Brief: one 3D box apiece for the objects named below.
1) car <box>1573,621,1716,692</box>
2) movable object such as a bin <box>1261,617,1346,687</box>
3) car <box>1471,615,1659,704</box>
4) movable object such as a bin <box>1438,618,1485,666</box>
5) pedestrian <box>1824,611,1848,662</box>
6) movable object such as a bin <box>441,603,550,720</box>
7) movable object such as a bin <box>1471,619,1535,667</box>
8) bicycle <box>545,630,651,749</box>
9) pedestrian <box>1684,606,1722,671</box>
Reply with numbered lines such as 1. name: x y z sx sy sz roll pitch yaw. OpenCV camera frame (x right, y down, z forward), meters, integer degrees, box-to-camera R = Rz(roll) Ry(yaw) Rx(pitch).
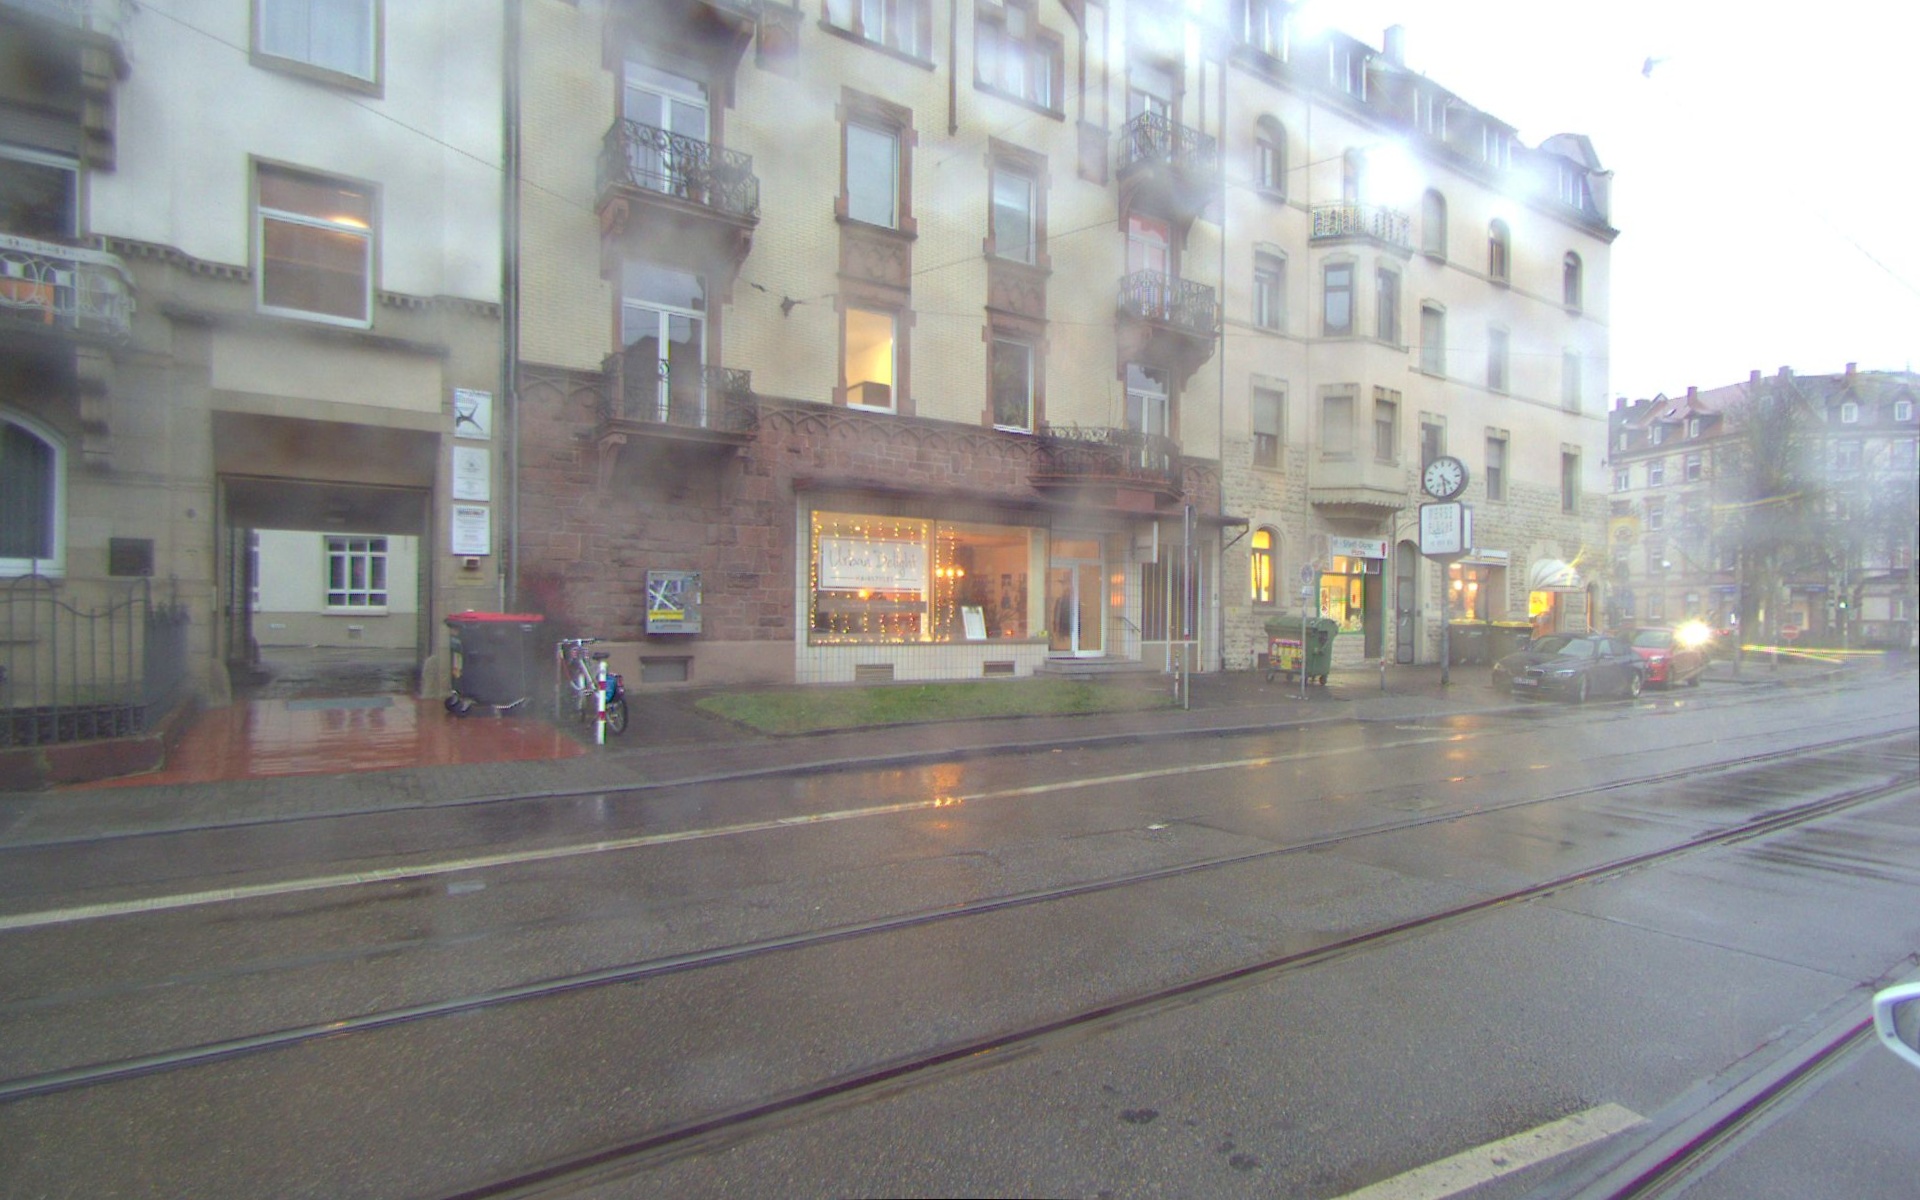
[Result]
1. car: 18.252 1.436 26.732 3.997 1.573 2.021 0 3 -39
2. movable object such as a bin: 7.482 1.109 21.883 1.236 1.439 1.260 1 0 -33
3. car: 13.822 1.309 22.860 4.587 1.667 1.972 2 3 -37
4. movable object such as a bin: 14.945 1.243 29.933 0.996 1.396 0.893 1 0 -33
5. pedestrian: 35.491 1.472 40.705 0.695 2.040 0.658 0 0 37
6. movable object such as a bin: -6.091 0.768 13.146 1.155 1.398 1.096 1 2 -32
7. movable object such as a bin: 16.325 1.272 30.210 1.239 1.385 1.286 1 0 -34
8. bicycle: -4.286 0.984 11.762 0.687 1.120 2.336 1 1 -32
9. pedestrian: 23.767 1.230 32.136 0.635 2.040 0.758 1 0 3
